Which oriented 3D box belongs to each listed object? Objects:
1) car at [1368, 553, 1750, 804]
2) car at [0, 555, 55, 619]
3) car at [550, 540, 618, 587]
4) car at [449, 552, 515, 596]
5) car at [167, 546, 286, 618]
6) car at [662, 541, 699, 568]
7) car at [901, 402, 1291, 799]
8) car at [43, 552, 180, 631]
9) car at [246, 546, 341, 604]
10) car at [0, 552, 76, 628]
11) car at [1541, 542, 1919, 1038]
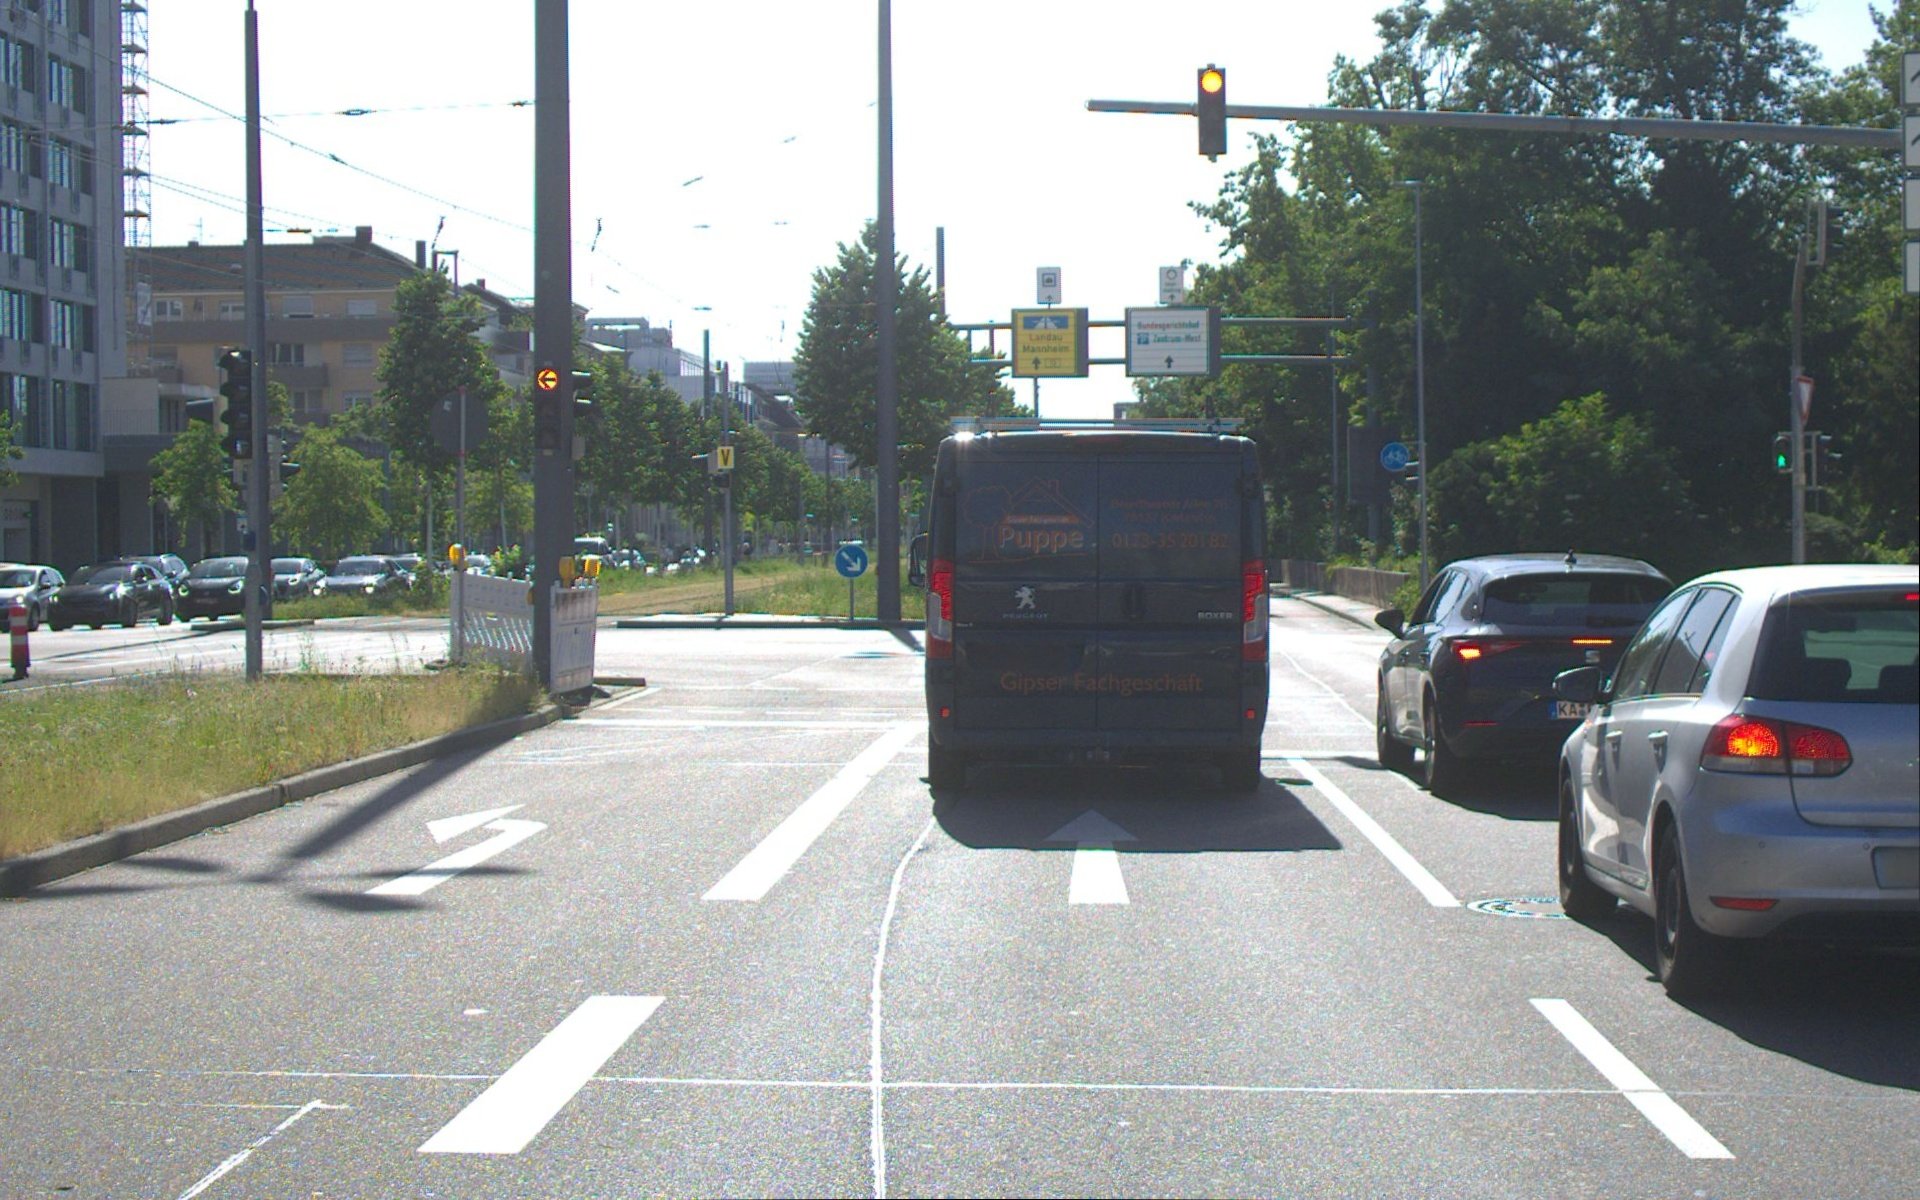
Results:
[{"bbox_3d":[3.684,0.426,21.764,1.792,1.423,3.850,1,1,1],"label":"car"},{"bbox_3d":[-25.638,-0.351,91.622,1.790,1.645,4.000,-1,1,3],"label":"car"},{"bbox_3d":[-13.678,-1.352,125.197,1.790,1.645,4.000,-1,1,3],"label":"car"},{"bbox_3d":[-18.532,-1.018,133.437,1.790,1.645,4.000,-1,1,3],"label":"car"},{"bbox_3d":[-17.666,-0.455,82.968,1.790,1.645,4.000,-1,1,3],"label":"car"},{"bbox_3d":[-17.526,-2.879,215.806,1.790,1.645,4.000,-1,1,3],"label":"car"},{"bbox_3d":[0.836,-0.058,22.097,2.218,2.259,4.484,1,2,1],"label":"car"},{"bbox_3d":[-18.441,-0.206,74.850,1.790,1.645,4.000,-1,1,3],"label":"car"},{"bbox_3d":[-19.597,-0.756,101.216,1.790,1.645,4.000,-1,1,3],"label":"car"},{"bbox_3d":[-21.397,-0.234,77.292,1.790,1.645,4.000,-1,1,3],"label":"car"},{"bbox_3d":[3.265,0.564,12.694,1.750,1.522,4.004,1,1,3],"label":"car"}]
